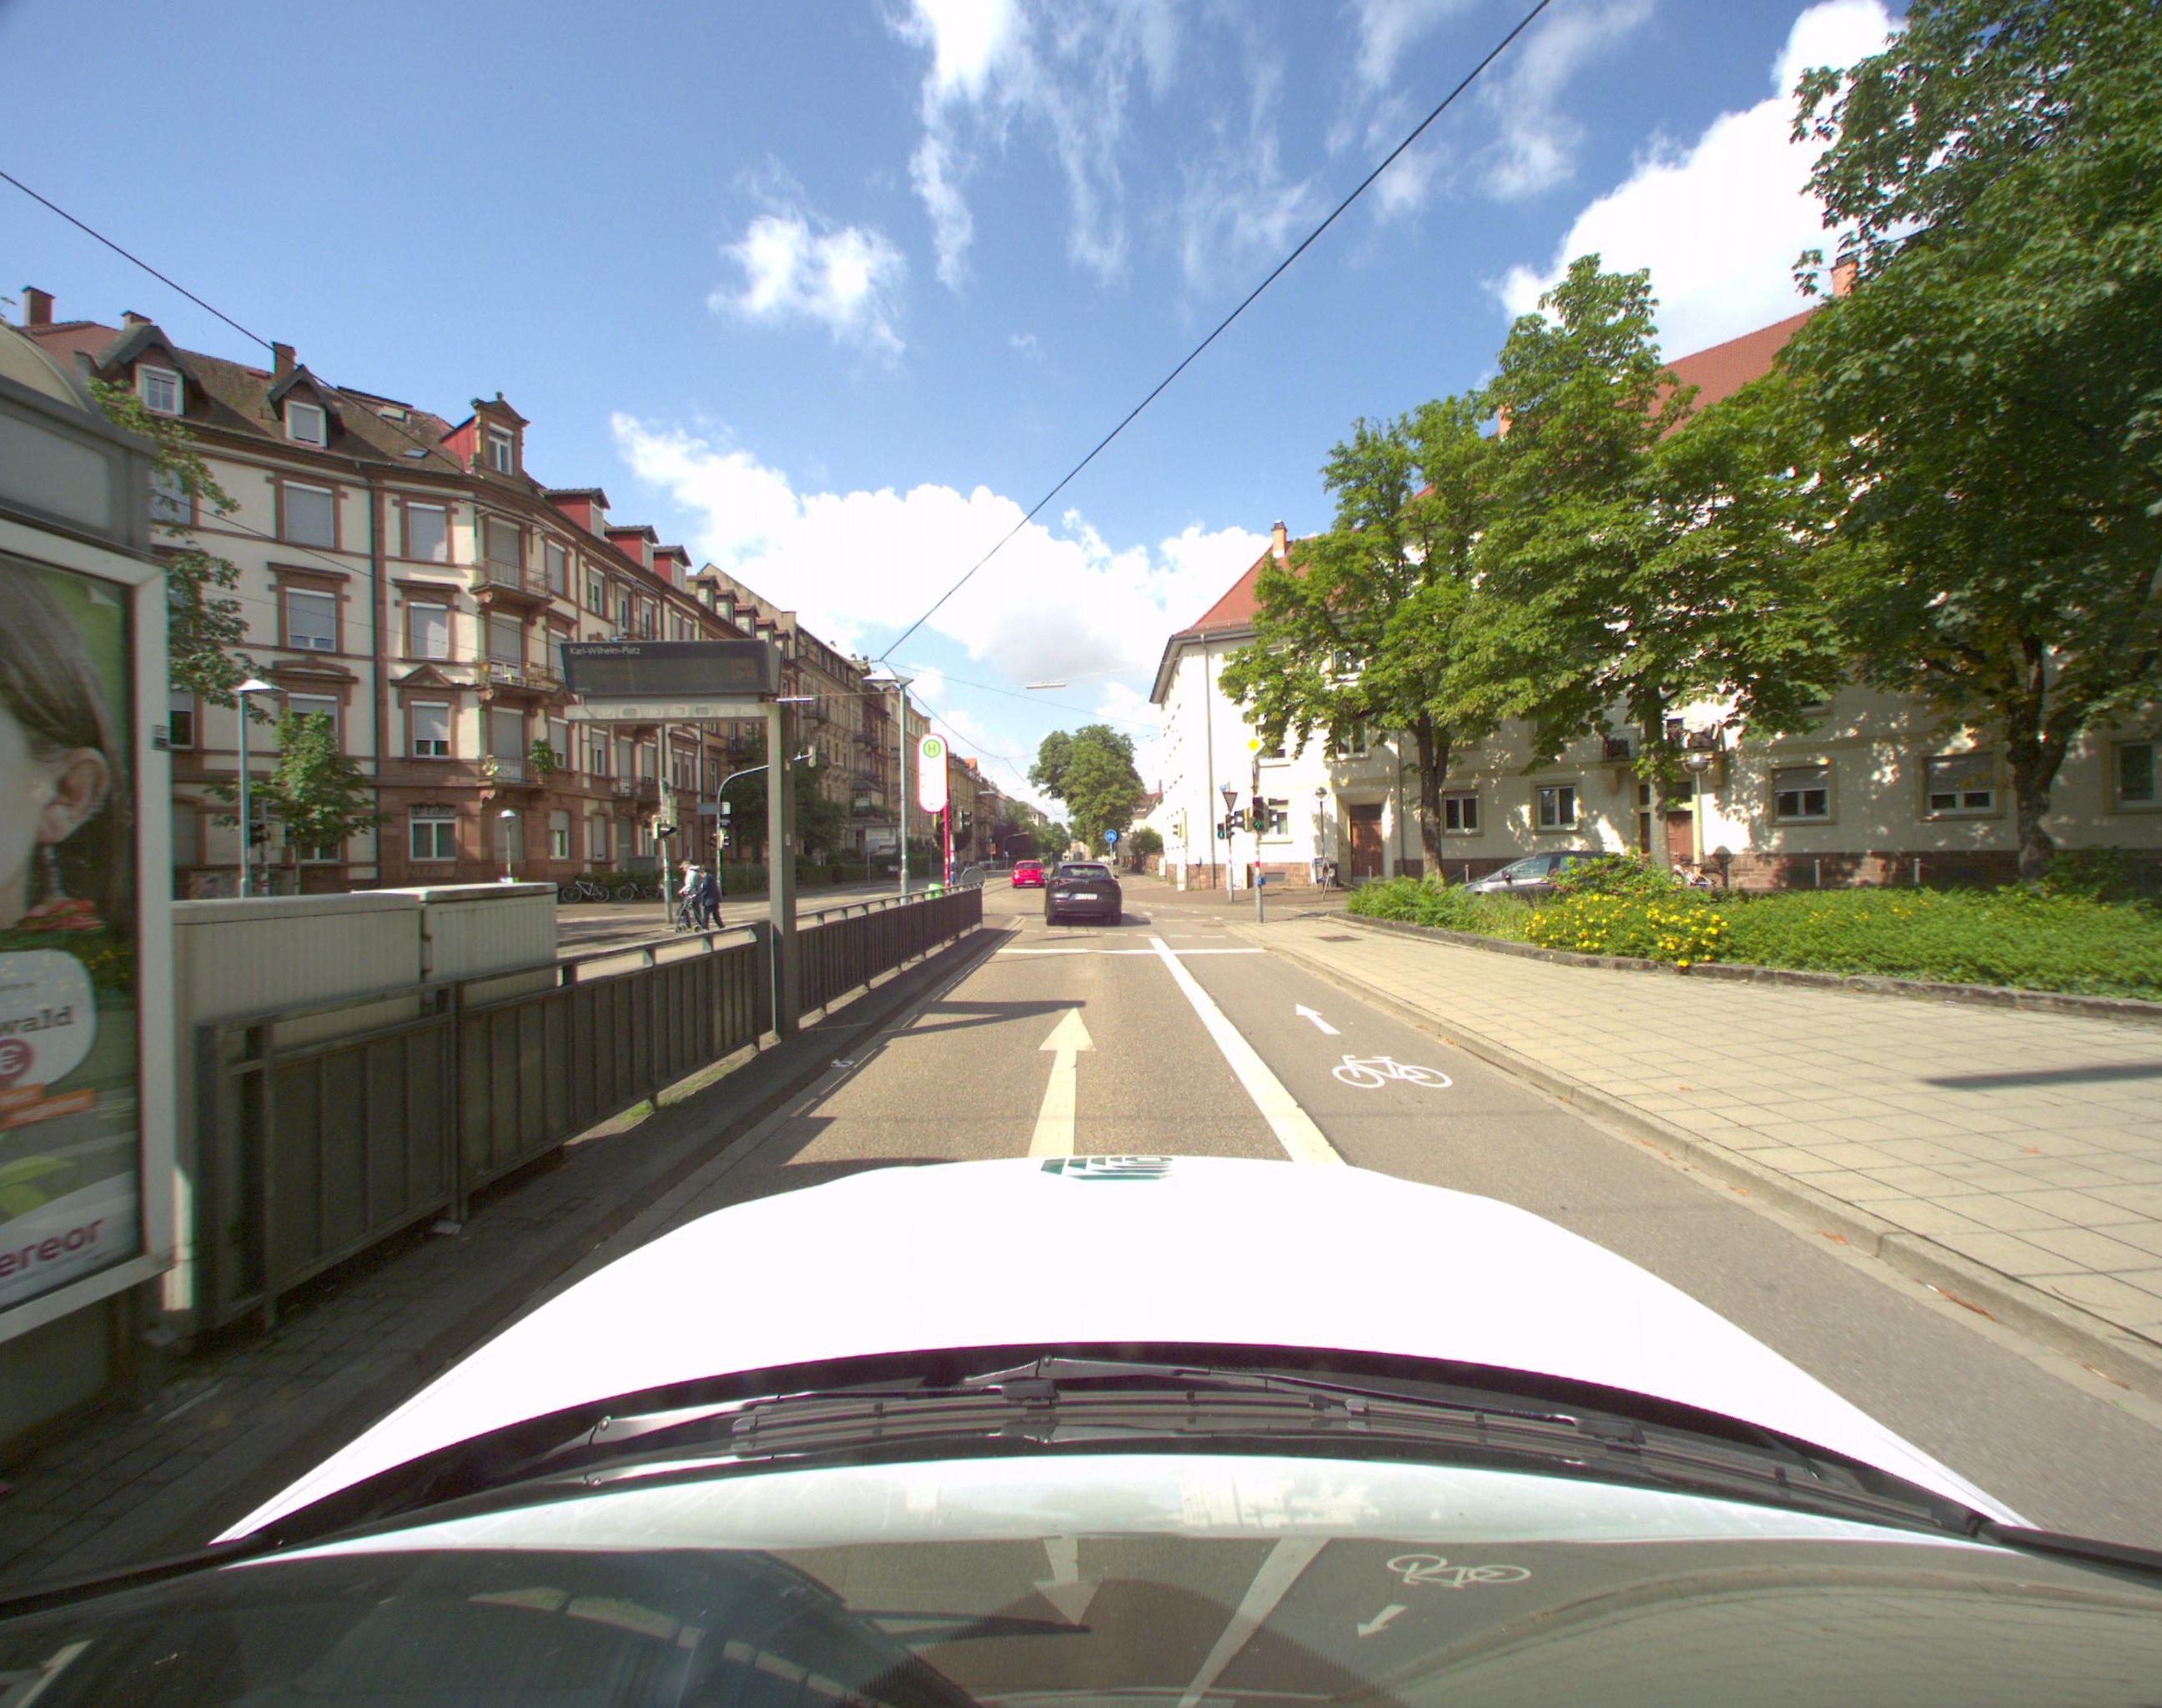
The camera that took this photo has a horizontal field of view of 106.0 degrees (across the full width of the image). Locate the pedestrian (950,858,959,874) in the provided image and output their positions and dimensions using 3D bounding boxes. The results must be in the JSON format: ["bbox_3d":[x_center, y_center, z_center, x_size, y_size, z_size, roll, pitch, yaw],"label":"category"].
[{"bbox_3d":[-13.074,1.240,84.031,0.784,1.688,0.732,-1,0,3],"label":"pedestrian"}]

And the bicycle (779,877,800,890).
[{"bbox_3d":[-16.234,1.630,45.375,0.383,0.677,1.714,-1,0,6],"label":"bicycle"}]

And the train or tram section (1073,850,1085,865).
[{"bbox_3d":[-0.414,1.079,231.896,2.986,3.984,13.811,-1,-1,1],"label":"train or tram section"}]

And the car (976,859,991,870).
[{"bbox_3d":[-14.820,1.525,124.035,1.651,1.596,3.930,-2,0,1],"label":"car"}]

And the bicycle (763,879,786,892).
[{"bbox_3d":[-16.239,1.664,43.166,0.383,0.653,1.714,-1,0,6],"label":"bicycle"}]

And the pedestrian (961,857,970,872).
[{"bbox_3d":[-13.139,1.167,92.605,0.784,1.688,0.732,-1,0,3],"label":"pedestrian"}]

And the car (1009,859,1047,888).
[{"bbox_3d":[-2.945,1.039,44.542,1.774,1.464,3.831,0,0,-8],"label":"car"}]

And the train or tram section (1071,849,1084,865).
[{"bbox_3d":[-0.787,0.883,218.051,2.986,3.984,13.811,-1,-1,1],"label":"train or tram section"}]

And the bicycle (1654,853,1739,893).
[{"bbox_3d":[16.766,0.515,22.226,0.569,1.020,1.734,-3,1,-36],"label":"bicycle"}]

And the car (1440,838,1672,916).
[{"bbox_3d":[10.497,0.476,18.178,4.119,1.510,1.863,-2,1,43],"label":"car"}]

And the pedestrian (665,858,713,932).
[{"bbox_3d":[-9.235,0.952,19.218,0.768,1.675,0.668,-1,0,0],"label":"pedestrian"}]

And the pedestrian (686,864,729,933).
[{"bbox_3d":[-8.591,1.010,18.746,0.665,1.546,0.581,-1,0,0],"label":"pedestrian"}]

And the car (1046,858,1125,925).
[{"bbox_3d":[0.011,0.876,20.589,1.778,1.514,3.996,1,0,-3],"label":"car"}]

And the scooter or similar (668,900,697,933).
[{"bbox_3d":[-9.128,1.425,18.650,0.412,0.721,0.486,-1,0,1],"label":"scooter or similar"}]

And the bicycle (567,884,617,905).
[{"bbox_3d":[-19.954,1.636,33.240,0.381,0.747,1.722,-2,0,37],"label":"bicycle"}]

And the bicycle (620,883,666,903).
[{"bbox_3d":[-18.748,1.664,34.856,0.381,0.747,1.722,-2,0,37],"label":"bicycle"}]
